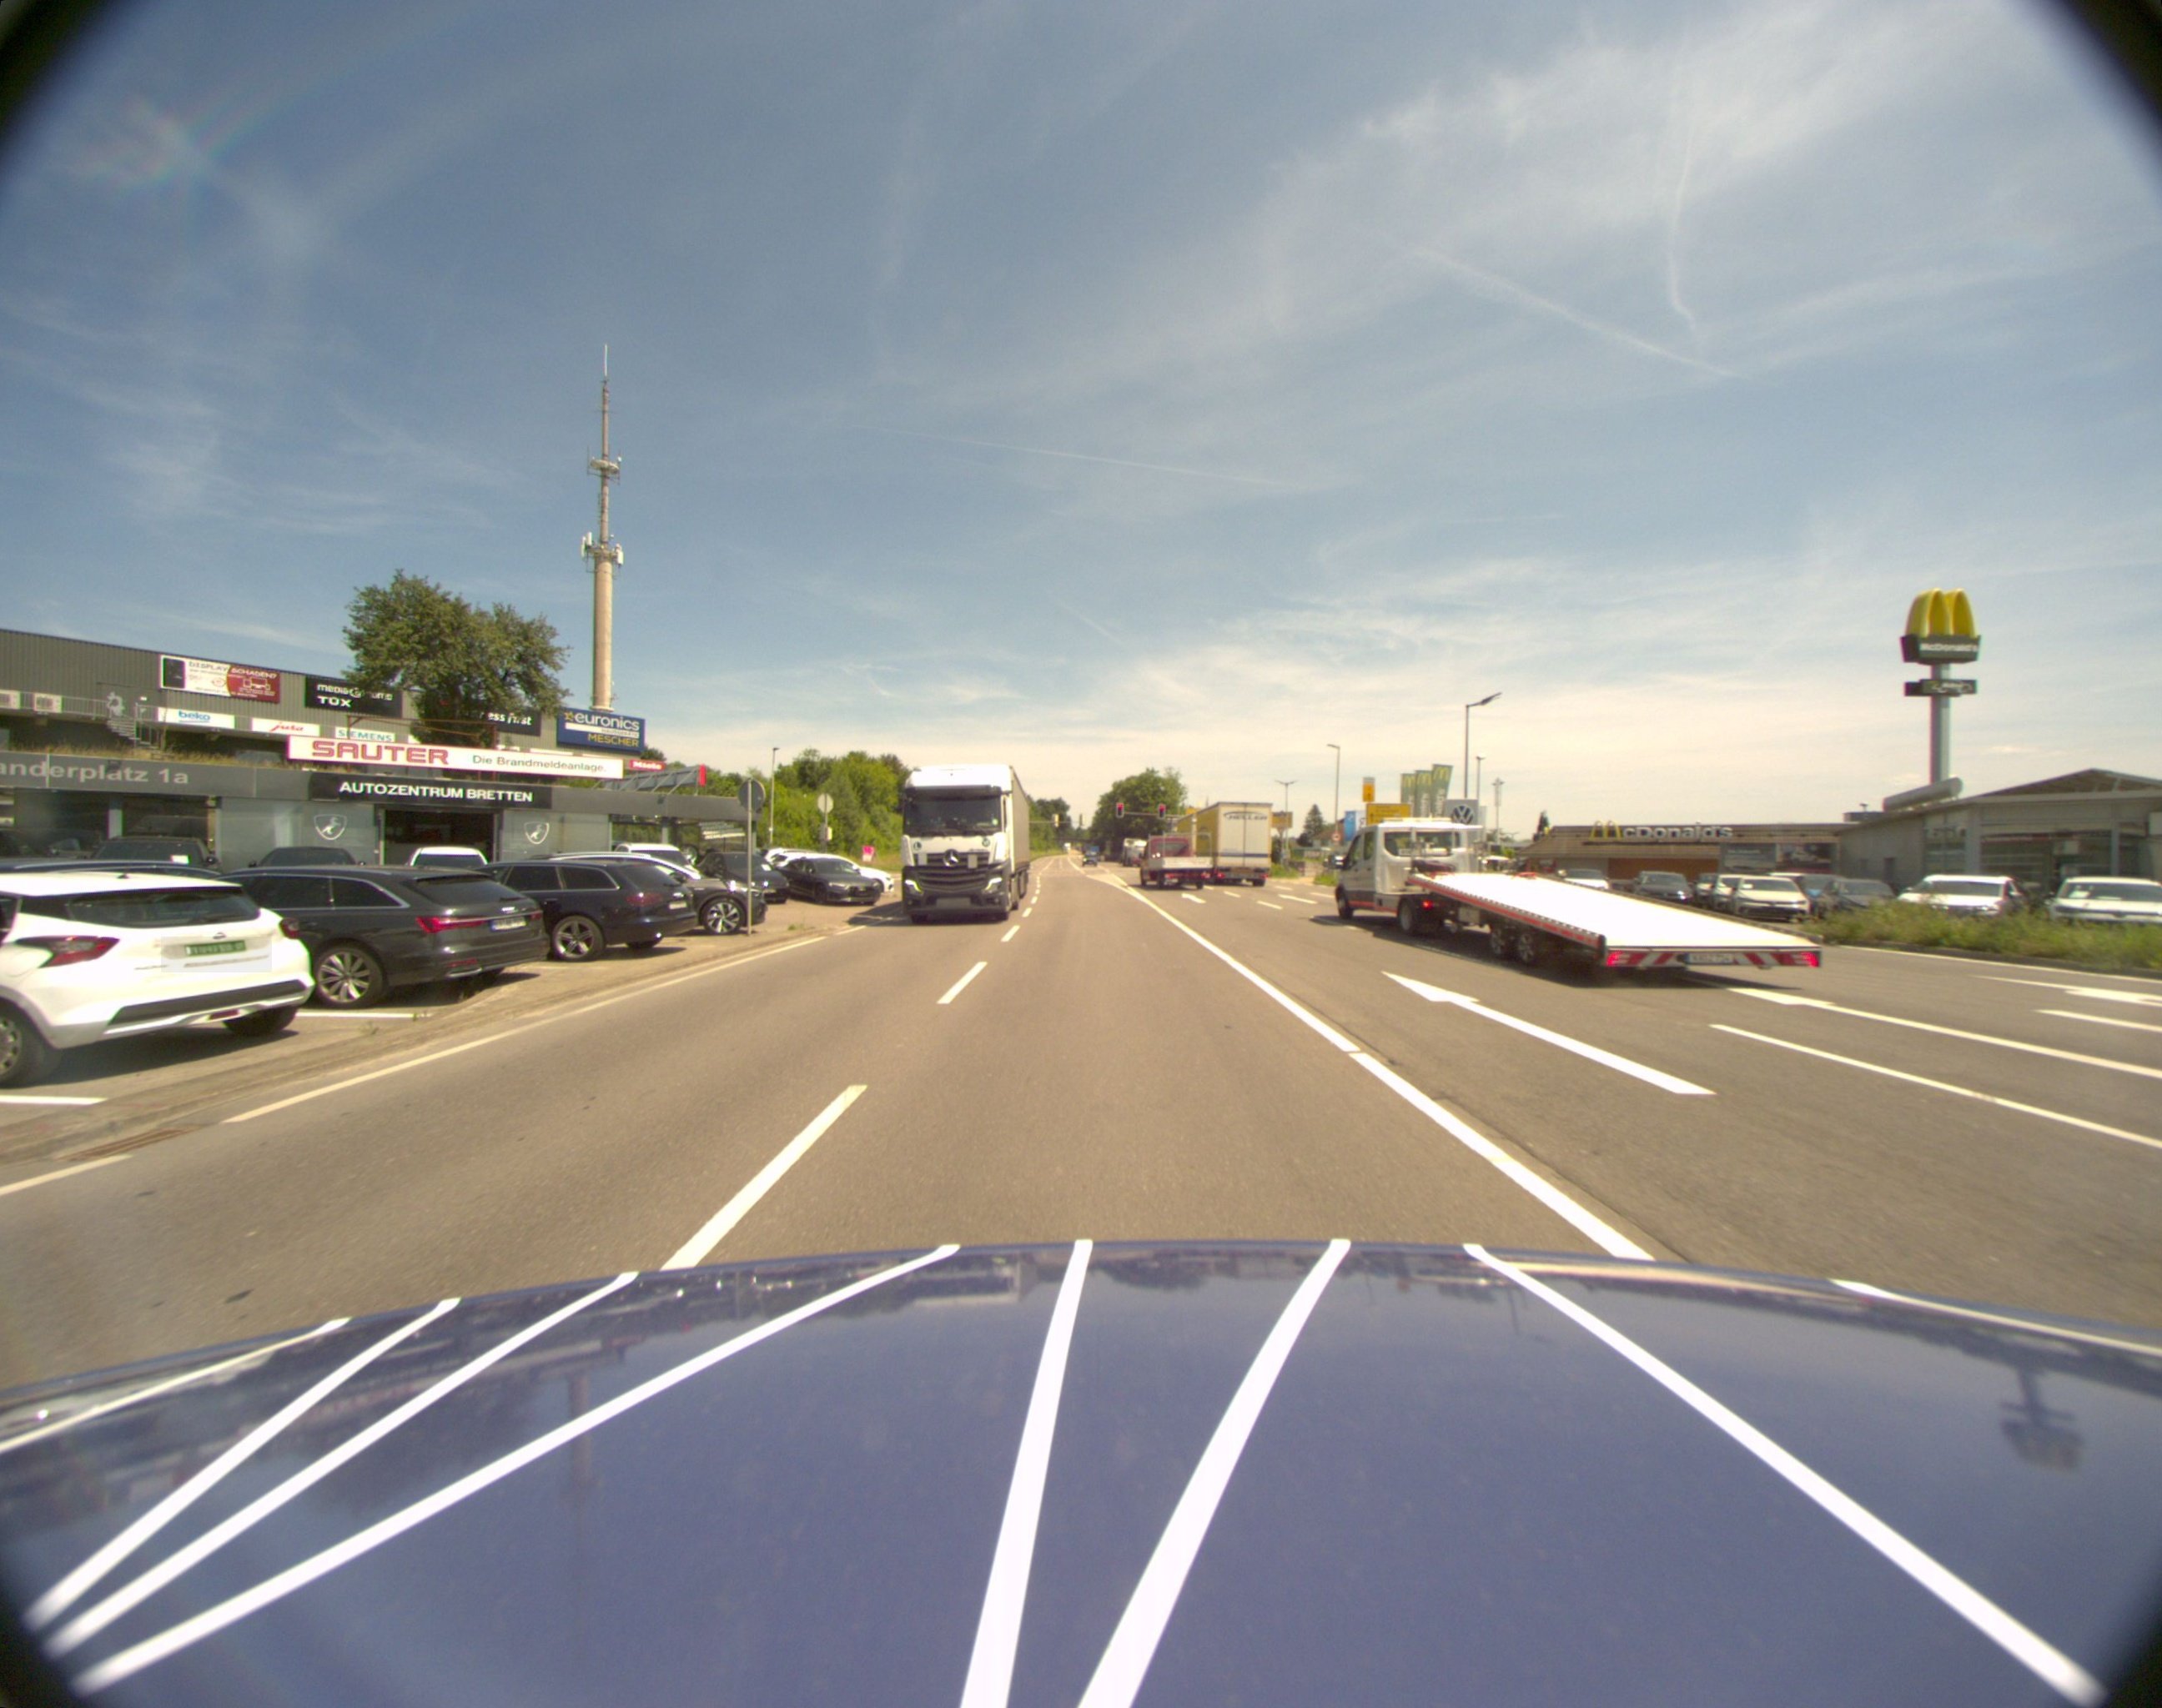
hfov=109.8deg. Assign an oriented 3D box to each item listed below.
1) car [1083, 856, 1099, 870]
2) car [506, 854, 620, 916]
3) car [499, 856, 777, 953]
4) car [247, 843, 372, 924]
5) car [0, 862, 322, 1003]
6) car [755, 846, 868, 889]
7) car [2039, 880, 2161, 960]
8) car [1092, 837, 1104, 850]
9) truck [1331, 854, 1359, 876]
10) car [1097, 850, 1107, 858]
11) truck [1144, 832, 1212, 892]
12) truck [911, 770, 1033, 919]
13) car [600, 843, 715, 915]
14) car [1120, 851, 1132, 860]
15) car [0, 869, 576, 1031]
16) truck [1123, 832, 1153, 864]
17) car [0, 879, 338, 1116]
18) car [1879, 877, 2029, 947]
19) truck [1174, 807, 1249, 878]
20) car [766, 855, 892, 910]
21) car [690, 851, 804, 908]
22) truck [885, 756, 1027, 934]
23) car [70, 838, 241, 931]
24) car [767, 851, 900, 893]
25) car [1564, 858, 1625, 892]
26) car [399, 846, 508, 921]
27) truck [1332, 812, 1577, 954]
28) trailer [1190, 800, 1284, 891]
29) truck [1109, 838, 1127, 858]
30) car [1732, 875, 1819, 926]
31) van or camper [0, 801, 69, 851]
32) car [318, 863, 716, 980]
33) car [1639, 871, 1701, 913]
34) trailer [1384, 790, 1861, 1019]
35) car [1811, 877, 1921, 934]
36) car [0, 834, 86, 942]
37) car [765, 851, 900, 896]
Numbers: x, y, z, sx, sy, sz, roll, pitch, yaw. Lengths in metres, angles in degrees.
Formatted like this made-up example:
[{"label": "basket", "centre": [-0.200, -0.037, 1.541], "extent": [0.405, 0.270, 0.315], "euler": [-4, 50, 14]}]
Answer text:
[{"label": "car", "centre": [1.303, 1.117, 97.172], "extent": [1.928, 1.601, 4.509], "euler": [0, 1, 0]}, {"label": "car", "centre": [-14.176, 0.782, 20.695], "extent": [1.858, 1.304, 4.135], "euler": [1, 2, -44]}, {"label": "car", "centre": [-8.288, 0.867, 14.642], "extent": [4.346, 1.615, 2.057], "euler": [1, 1, -27]}, {"label": "car", "centre": [-17.844, 0.607, 17.686], "extent": [1.858, 1.489, 4.135], "euler": [1, 2, -44]}, {"label": "car", "centre": [-12.969, 0.912, 9.679], "extent": [1.812, 1.519, 4.386], "euler": [1, 0, 11]}, {"label": "car", "centre": [-11.672, 0.594, 32.977], "extent": [4.184, 1.681, 1.879], "euler": [3, -1, -38]}, {"label": "car", "centre": [23.635, 1.422, 17.381], "extent": [4.008, 1.564, 1.818], "euler": [1, 0, -34]}, {"label": "car", "centre": [5.125, -3.213, 231.349], "extent": [3.351, 4.056, 7.693], "euler": [1, 1, 2]}, {"label": "truck", "centre": [40.862, 1.627, 117.390], "extent": [2.995, 3.201, 9.631], "euler": [2, 0, 25]}, {"label": "car", "centre": [4.011, 0.008, 144.337], "extent": [1.688, 1.489, 3.954], "euler": [3, 1, 0]}, {"label": "truck", "centre": [4.261, 0.293, 34.712], "extent": [2.402, 2.430, 6.872], "euler": [-1, 1, 2]}, {"label": "truck", "centre": [-3.408, -0.278, 27.852], "extent": [2.981, 3.986, 14.118], "euler": [2, 0, -3]}, {"label": "car", "centre": [-12.378, 0.657, 22.081], "extent": [1.858, 1.704, 4.135], "euler": [1, 2, -44]}, {"label": "car", "centre": [7.447, 0.258, 126.155], "extent": [1.688, 1.420, 4.153], "euler": [2, 1, 0]}, {"label": "car", "centre": [-8.631, 0.968, 8.621], "extent": [4.337, 1.490, 2.081], "euler": [-1, 0, -2]}, {"label": "truck", "centre": [7.698, -0.772, 104.410], "extent": [2.612, 3.995, 15.127], "euler": [1, 0, -1]}, {"label": "car", "centre": [-8.674, 1.000, 6.040], "extent": [3.817, 1.490, 1.854], "euler": [-1, 0, 4]}, {"label": "car", "centre": [22.438, 1.410, 19.512], "extent": [4.147, 1.536, 1.818], "euler": [1, 0, -31]}, {"label": "truck", "centre": [8.094, -0.684, 48.648], "extent": [3.036, 4.081, 10.354], "euler": [0, 0, 0]}, {"label": "car", "centre": [-8.379, 0.862, 25.024], "extent": [1.932, 1.379, 4.918], "euler": [1, 2, -44]}, {"label": "car", "centre": [-10.469, 0.747, 23.657], "extent": [1.858, 1.412, 4.152], "euler": [1, 2, -44]}, {"label": "truck", "centre": [-3.064, -0.208, 20.492], "extent": [2.981, 3.986, 6.324], "euler": [2, 0, -3]}, {"label": "car", "centre": [-19.530, 0.553, 16.225], "extent": [1.858, 1.559, 4.135], "euler": [1, 2, -44]}, {"label": "car", "centre": [-10.097, 0.757, 31.240], "extent": [4.750, 1.543, 1.994], "euler": [3, -1, -40]}, {"label": "car", "centre": [23.624, 0.911, 34.897], "extent": [2.121, 1.470, 4.009], "euler": [1, 0, 36]}, {"label": "car", "centre": [-15.597, 0.659, 18.811], "extent": [1.736, 1.476, 3.927], "euler": [1, 2, -44]}, {"label": "truck", "centre": [7.239, 0.489, 15.671], "extent": [2.430, 2.327, 5.676], "euler": [2, 0, 3]}, {"label": "trailer", "centre": [8.042, -0.420, 40.690], "extent": [3.019, 4.262, 10.058], "euler": [0, 0, 1]}, {"label": "truck", "centre": [7.419, -1.238, 153.968], "extent": [2.851, 3.932, 17.085], "euler": [1, 1, 0]}, {"label": "car", "centre": [22.700, 1.471, 24.975], "extent": [1.765, 1.407, 3.991], "euler": [2, 1, 38]}, {"label": "van or camper", "centre": [-32.320, -0.795, 22.423], "extent": [1.860, 1.349, 3.989], "euler": [-2, 1, -37]}, {"label": "car", "centre": [-8.177, 0.927, 11.413], "extent": [4.337, 1.490, 2.081], "euler": [-1, 0, -2]}, {"label": "car", "centre": [23.067, 1.432, 29.882], "extent": [1.772, 1.471, 4.009], "euler": [1, 0, 36]}, {"label": "trailer", "centre": [7.035, 0.501, 11.413], "extent": [2.434, 2.325, 6.897], "euler": [2, 0, 3]}, {"label": "car", "centre": [23.739, 1.482, 23.129], "extent": [1.608, 1.471, 4.112], "euler": [1, 0, 36]}, {"label": "car", "centre": [-20.926, 0.580, 14.119], "extent": [1.973, 1.778, 4.135], "euler": [1, 2, -38]}, {"label": "car", "centre": [-9.305, 0.756, 28.573], "extent": [4.486, 1.401, 1.742], "euler": [5, -2, -32]}]
